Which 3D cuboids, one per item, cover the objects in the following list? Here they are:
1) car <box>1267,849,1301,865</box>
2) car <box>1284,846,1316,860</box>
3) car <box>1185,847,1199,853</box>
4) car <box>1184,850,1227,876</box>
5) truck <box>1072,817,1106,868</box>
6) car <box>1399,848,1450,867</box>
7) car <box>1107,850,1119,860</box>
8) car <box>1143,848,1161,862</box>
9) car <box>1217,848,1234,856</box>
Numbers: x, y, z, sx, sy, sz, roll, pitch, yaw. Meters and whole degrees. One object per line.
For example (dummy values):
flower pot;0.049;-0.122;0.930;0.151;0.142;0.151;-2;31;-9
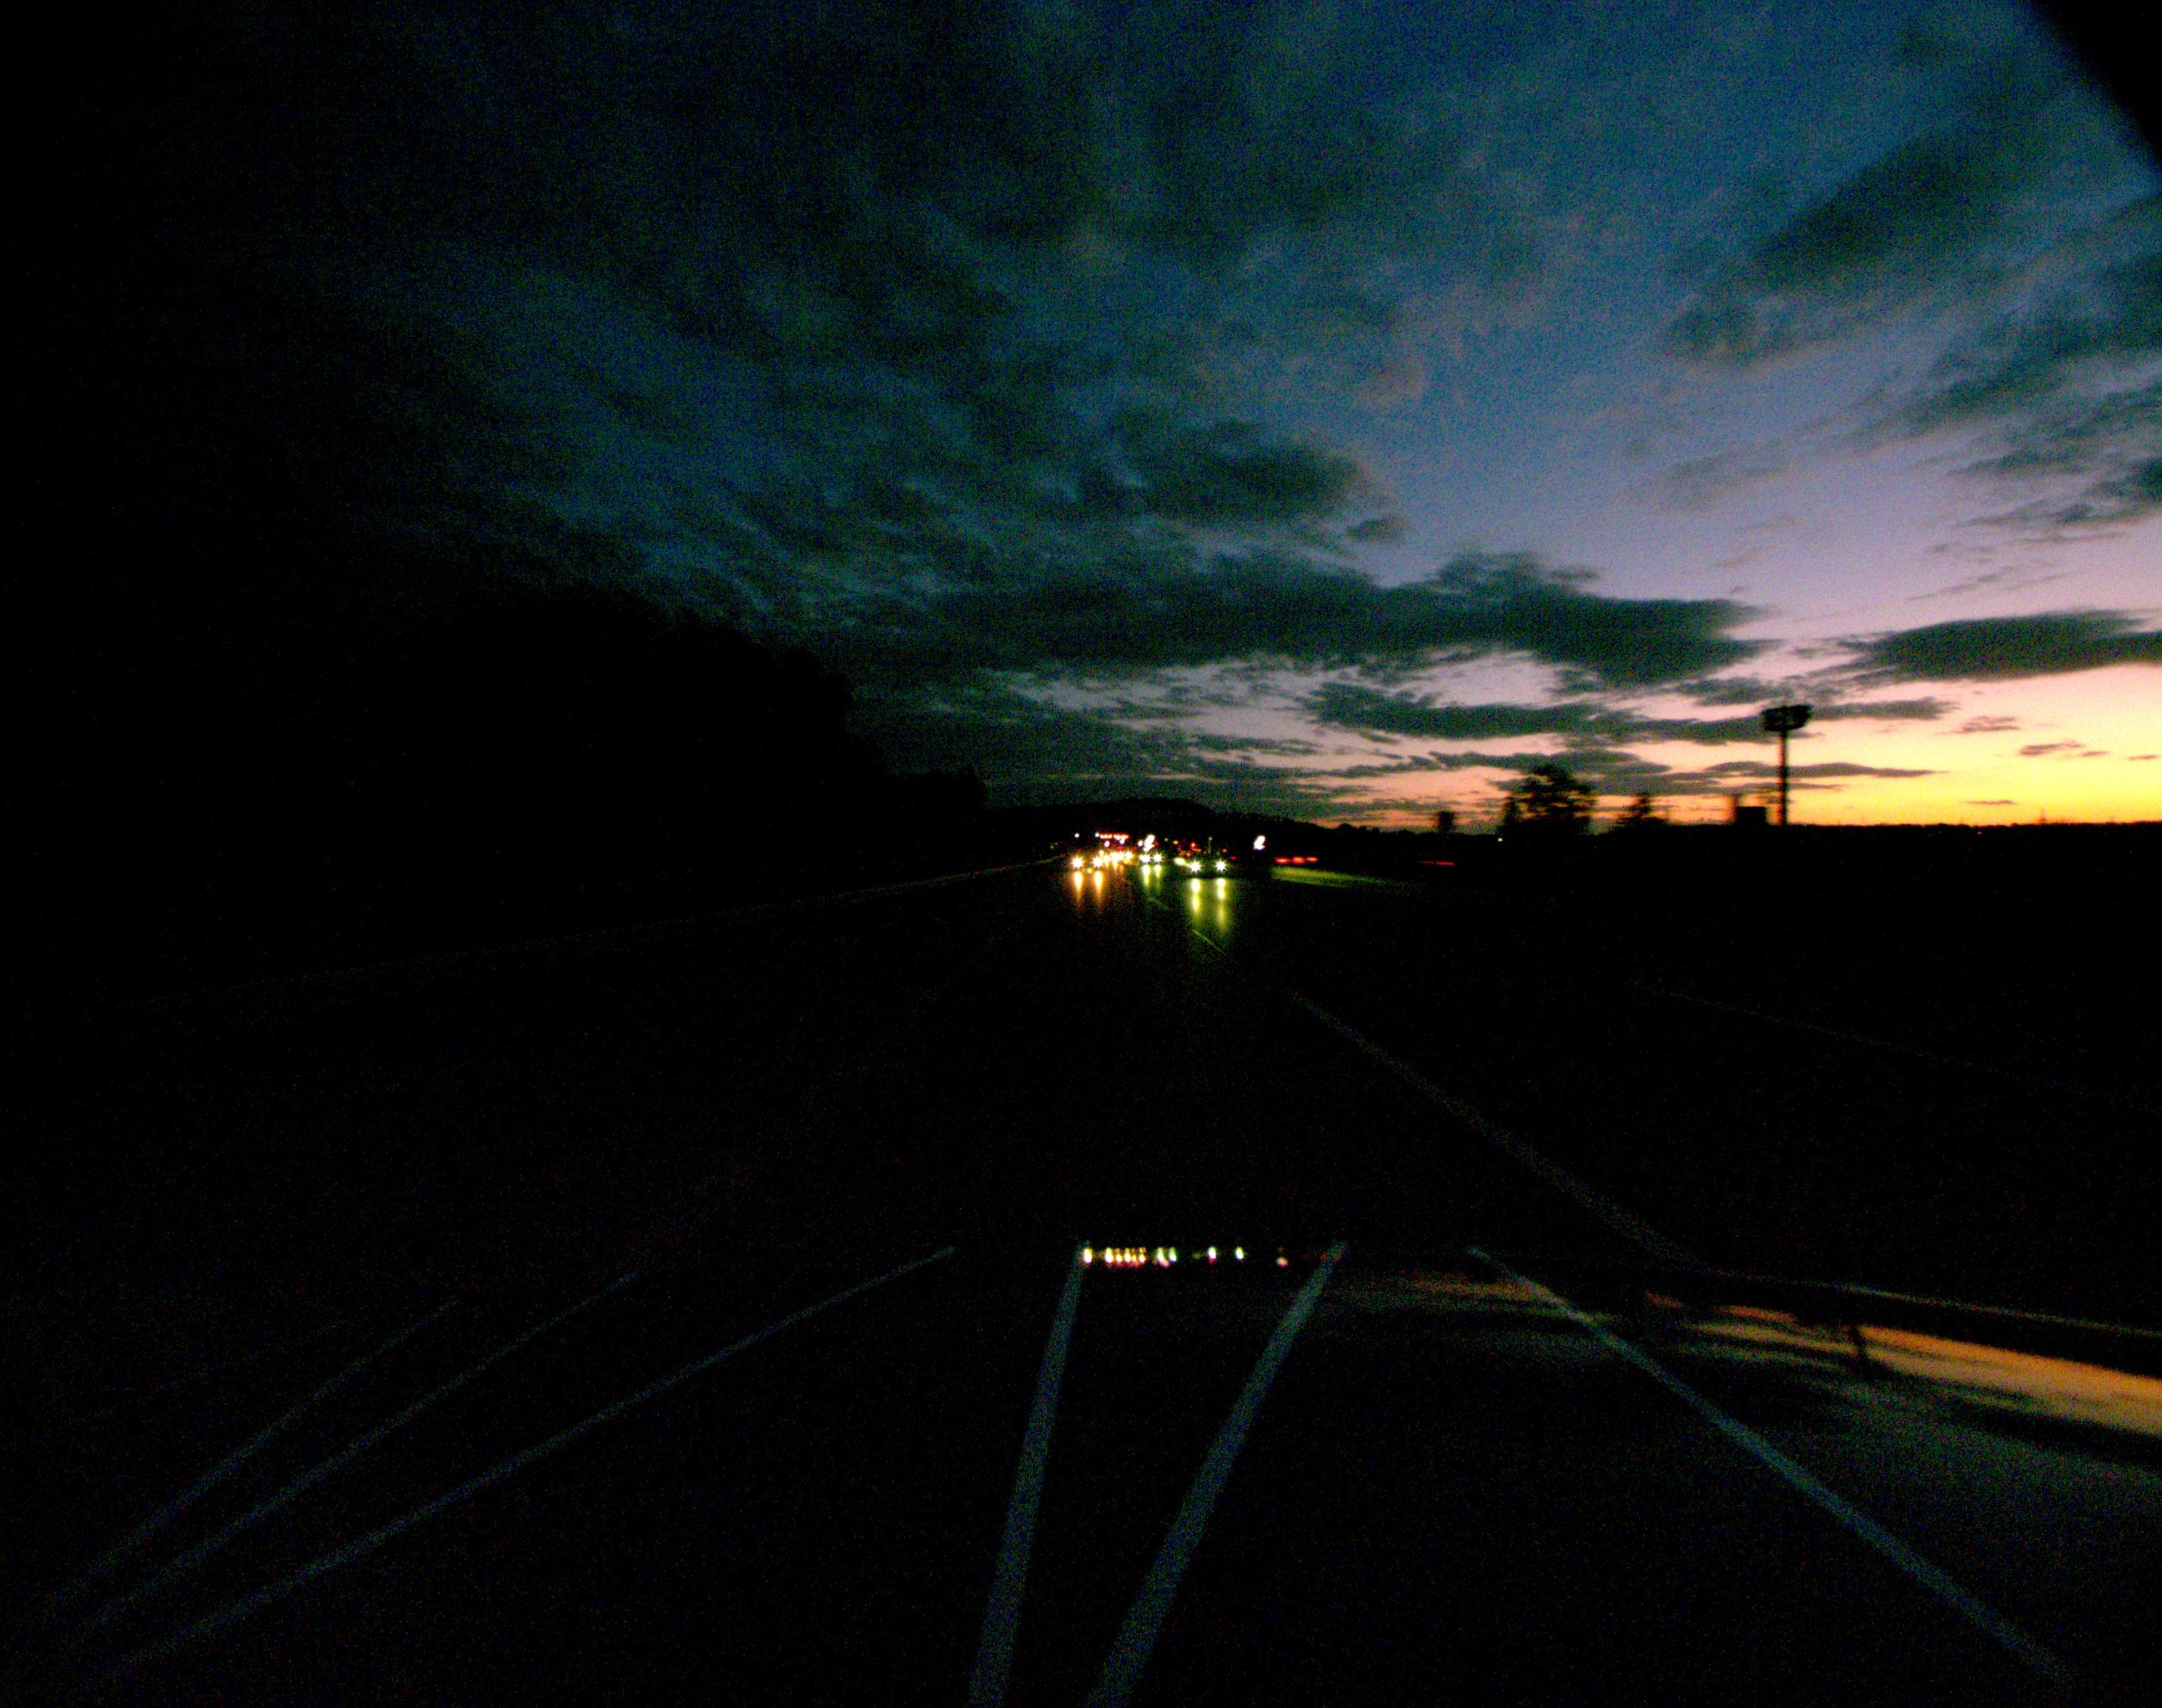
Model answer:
car;16.411;0.193;61.514;1.669;1.171;3.999;-2;1;1
car;20.489;-0.136;71.217;1.936;1.171;3.999;-2;1;1
car;17.241;-0.635;118.478;1.697;0.983;3.565;-2;1;1
car;7.739;0.492;47.714;1.819;1.429;5.394;-2;1;0
truck;0.815;-1.049;76.384;3.012;4.570;12.578;-2;0;1
car;23.721;0.246;52.604;1.722;1.171;3.999;-2;1;1
car;5.237;0.086;126.308;1.802;1.531;4.159;-2;1;1
car;8.945;0.103;96.285;1.819;1.638;4.856;-2;1;0
car;21.162;-0.285;111.373;1.584;0.983;4.524;-2;1;1
